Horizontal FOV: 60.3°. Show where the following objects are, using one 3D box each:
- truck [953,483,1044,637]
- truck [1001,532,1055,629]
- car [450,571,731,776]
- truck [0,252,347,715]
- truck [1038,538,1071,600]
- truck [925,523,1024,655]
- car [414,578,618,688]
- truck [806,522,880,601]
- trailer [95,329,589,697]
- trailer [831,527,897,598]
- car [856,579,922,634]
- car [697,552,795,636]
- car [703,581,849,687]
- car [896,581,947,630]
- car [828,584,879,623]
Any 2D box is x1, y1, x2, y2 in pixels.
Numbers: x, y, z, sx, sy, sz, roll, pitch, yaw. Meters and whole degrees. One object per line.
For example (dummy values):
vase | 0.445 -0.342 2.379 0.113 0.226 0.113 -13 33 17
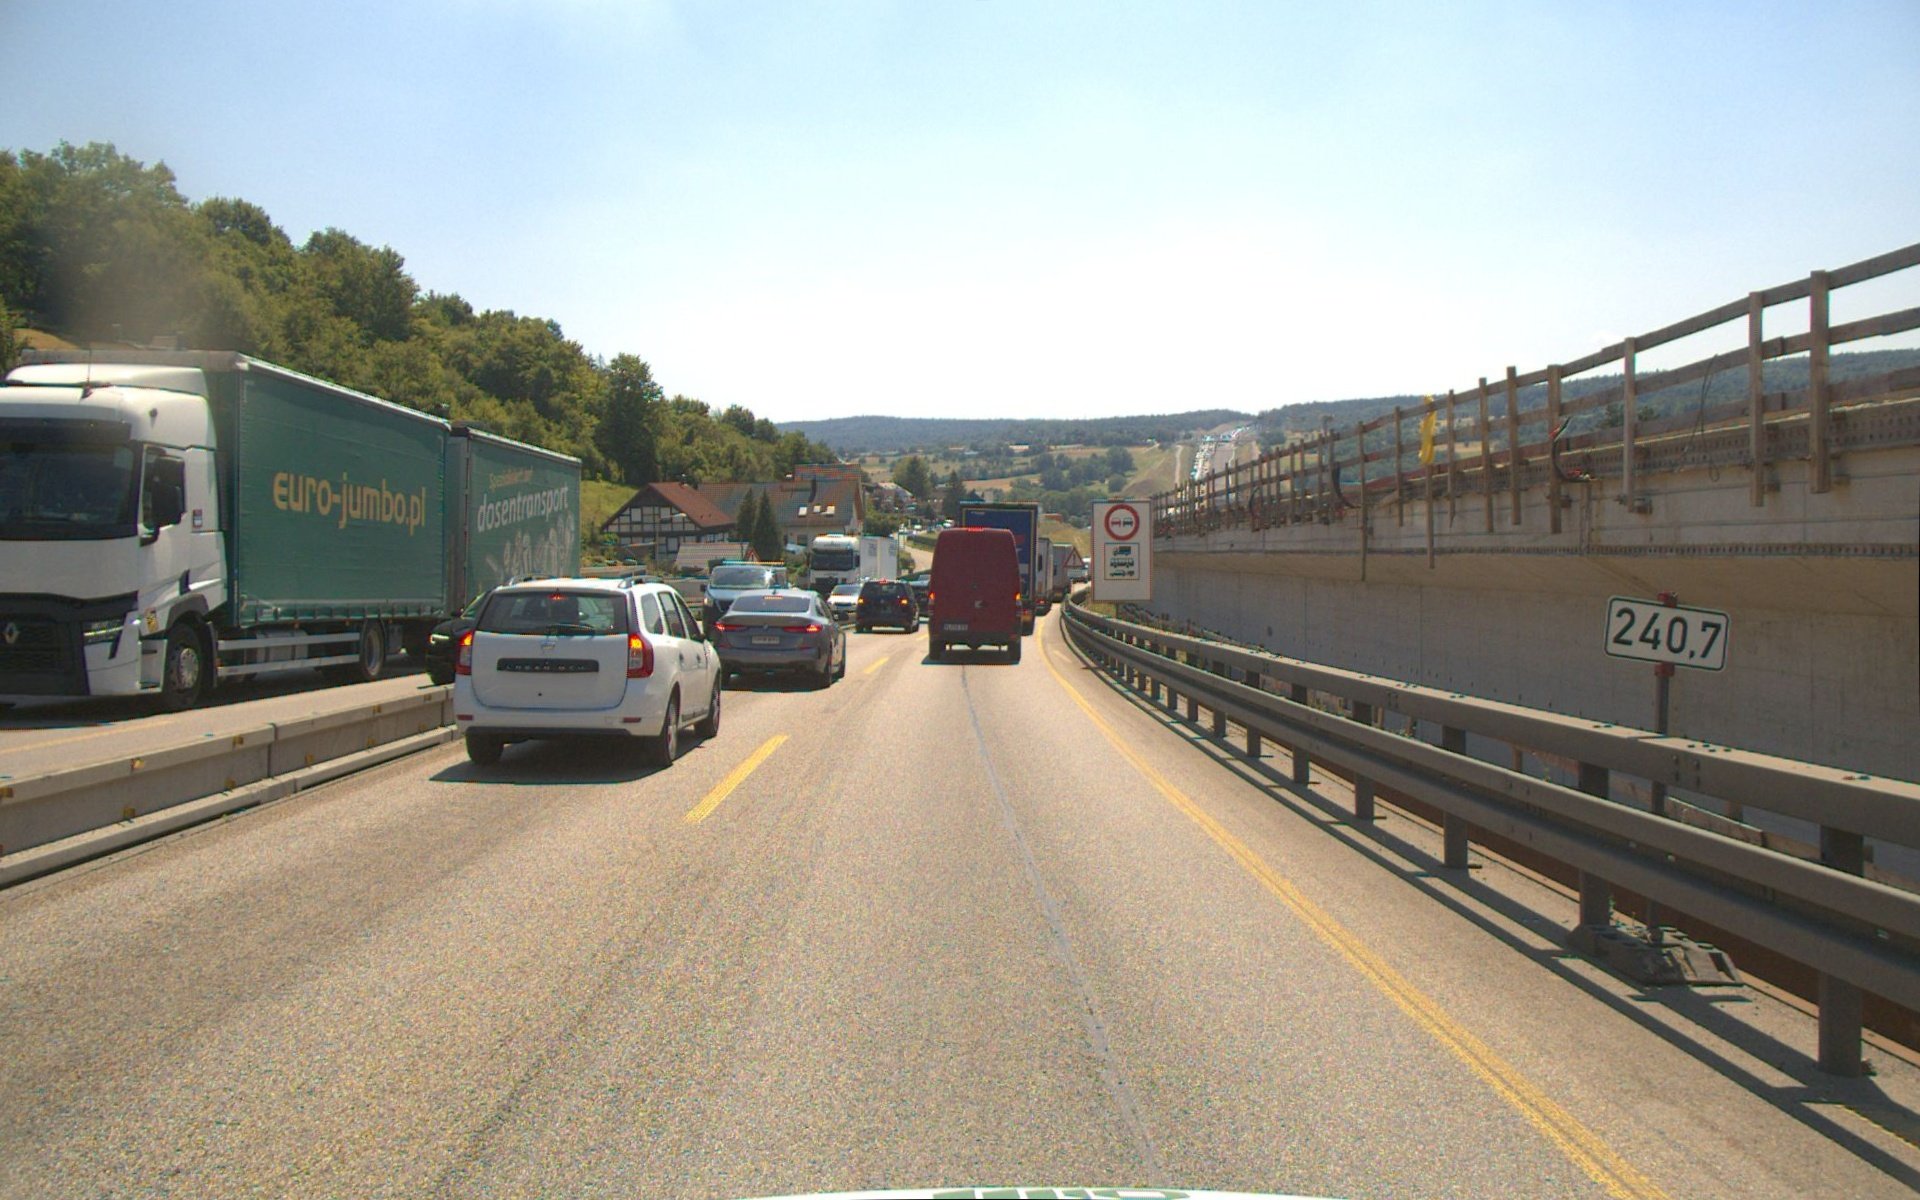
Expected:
truck | 1.472 -1.247 57.653 2.728 4.900 9.689 0 -1 4
truck | 3.718 -0.959 89.534 2.728 4.900 9.688 0 -1 3
car | -3.112 0.568 14.743 1.618 1.509 4.265 -2 0 -2
truck | -9.780 -1.163 19.579 2.788 4.660 5.787 0 -1 1
truck | 6.906 -2.228 120.786 1.951 4.458 4.003 0 -1 10
truck | 0.340 -0.205 35.028 1.952 2.624 4.000 0 -1 1
car | -6.578 0.474 25.057 1.863 1.488 4.756 1 -1 -1
truck | -6.556 -2.163 94.185 2.916 4.235 10.550 1 1 3
trailer | -9.589 -1.059 28.582 2.775 4.723 14.582 0 -1 1
trailer | -5.972 -2.311 103.945 2.940 4.238 9.022 0 0 4
car | -2.189 0.218 52.104 1.772 1.636 3.720 0 -1 2
car | -5.931 -0.141 46.383 1.952 2.211 4.833 0 -1 2
car | -2.743 0.475 25.517 1.758 1.511 4.050 0 0 1
car | -1.505 0.228 66.354 1.693 1.870 4.001 0 -1 3
car | -4.478 0.179 69.953 1.548 1.548 4.156 0 -2 5
